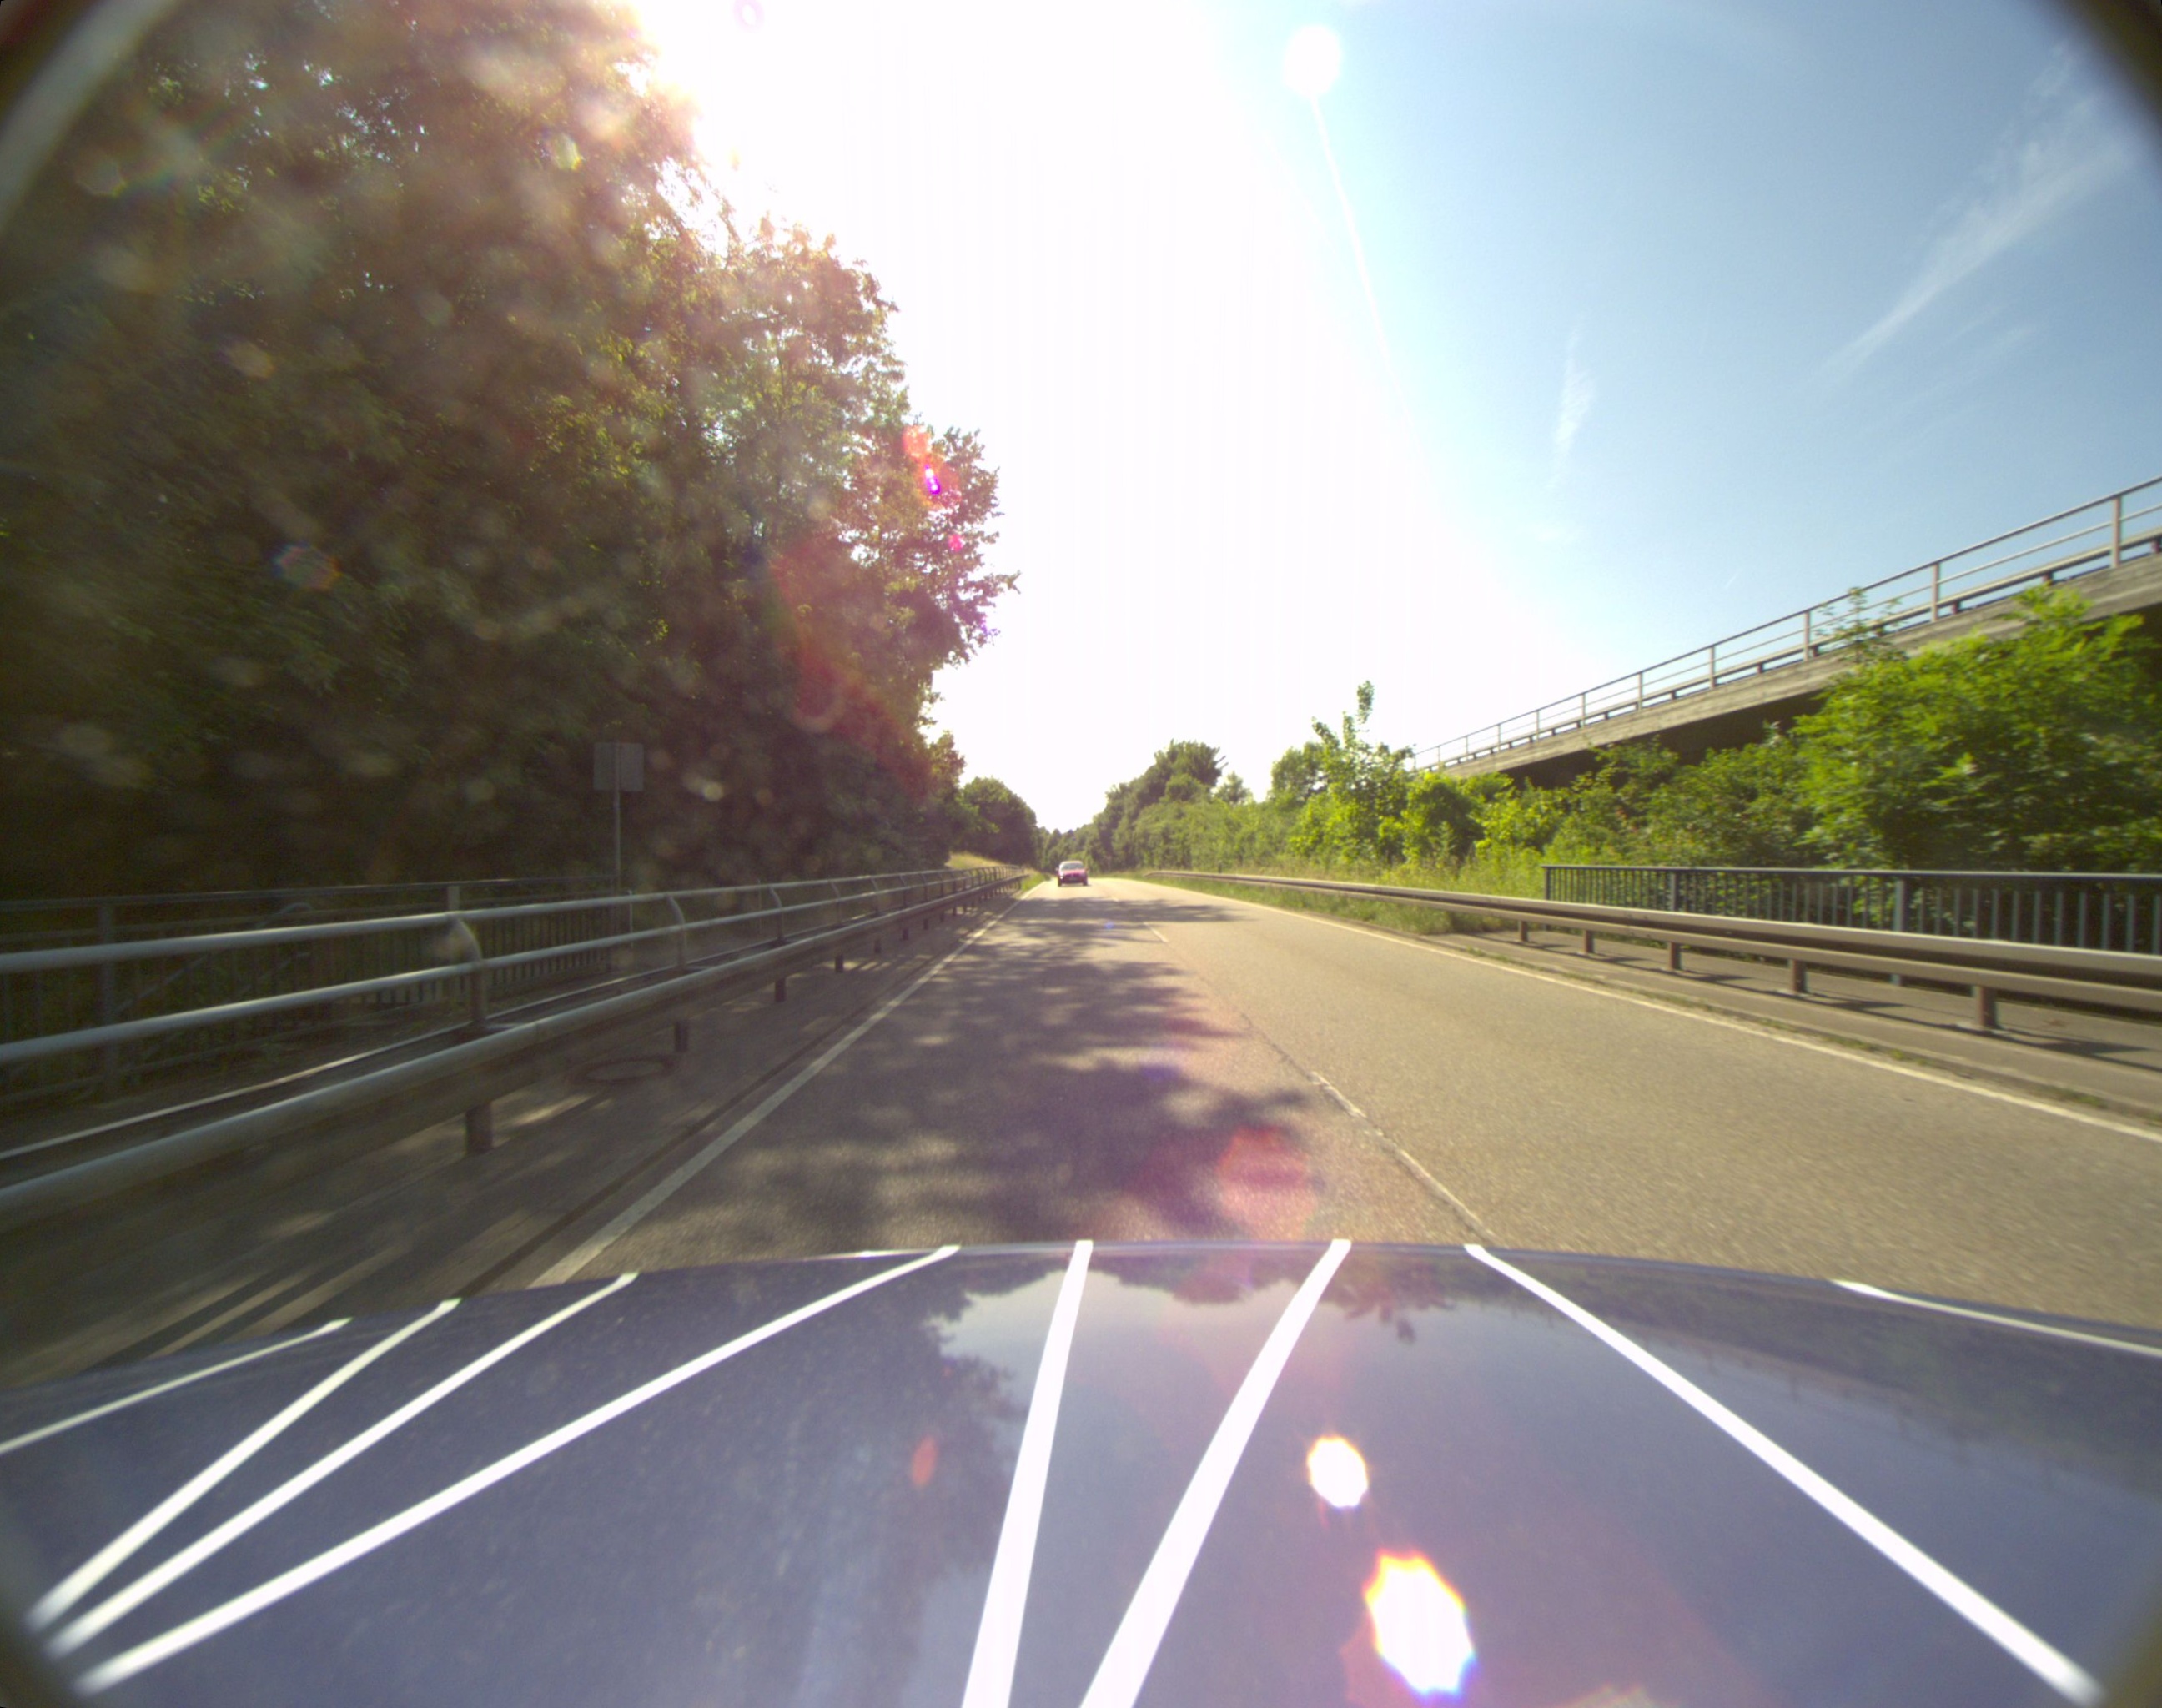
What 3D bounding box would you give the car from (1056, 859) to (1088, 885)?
[{"bbox_3d":[-0.595,1.106,45.979,1.817,1.487,4.286,-2,-2,-2],"label":"car"}]
